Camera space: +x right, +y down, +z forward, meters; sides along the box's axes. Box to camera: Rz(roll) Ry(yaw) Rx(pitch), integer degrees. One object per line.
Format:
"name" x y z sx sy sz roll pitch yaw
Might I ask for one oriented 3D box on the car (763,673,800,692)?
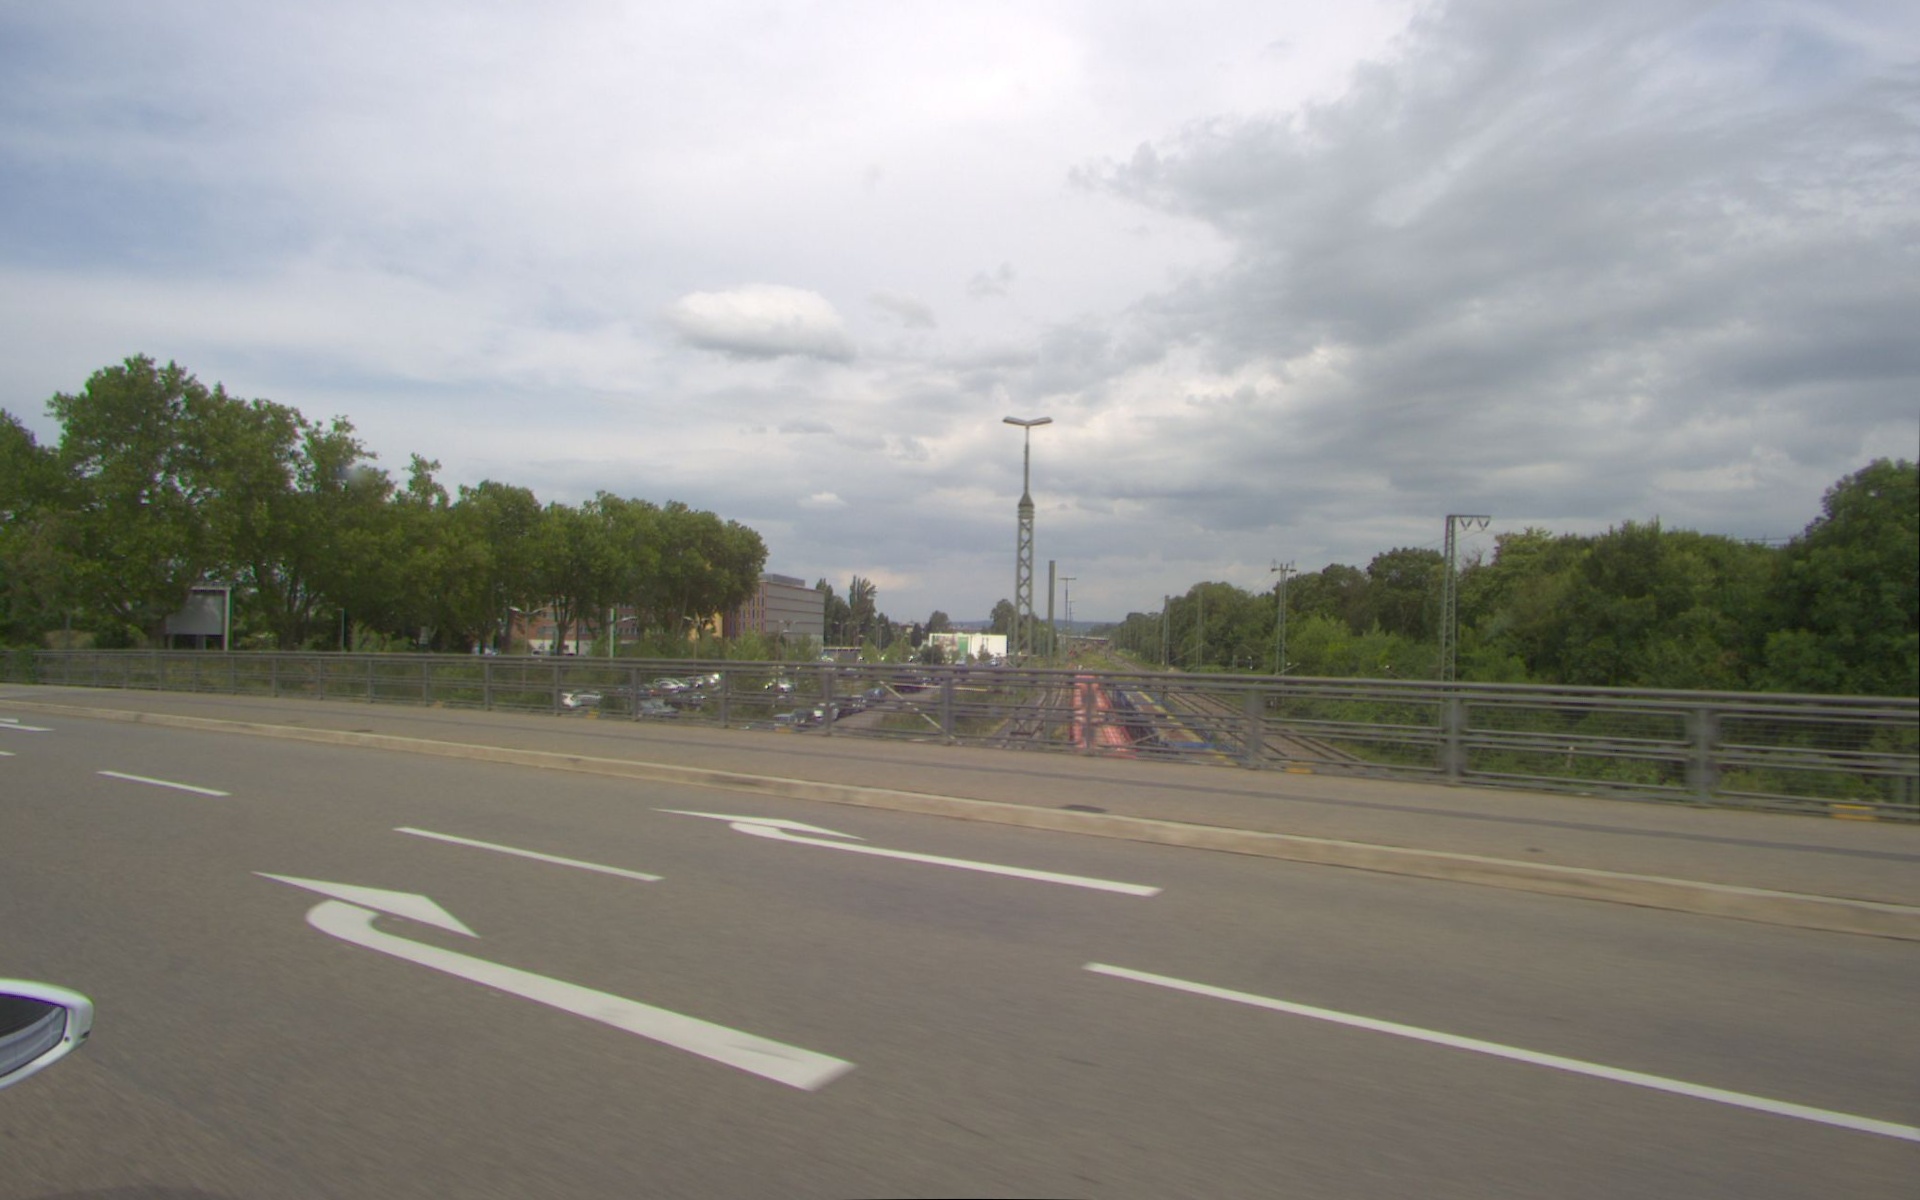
"car" -20.916 9.682 117.400 3.922 2.039 1.763 1 -2 2
